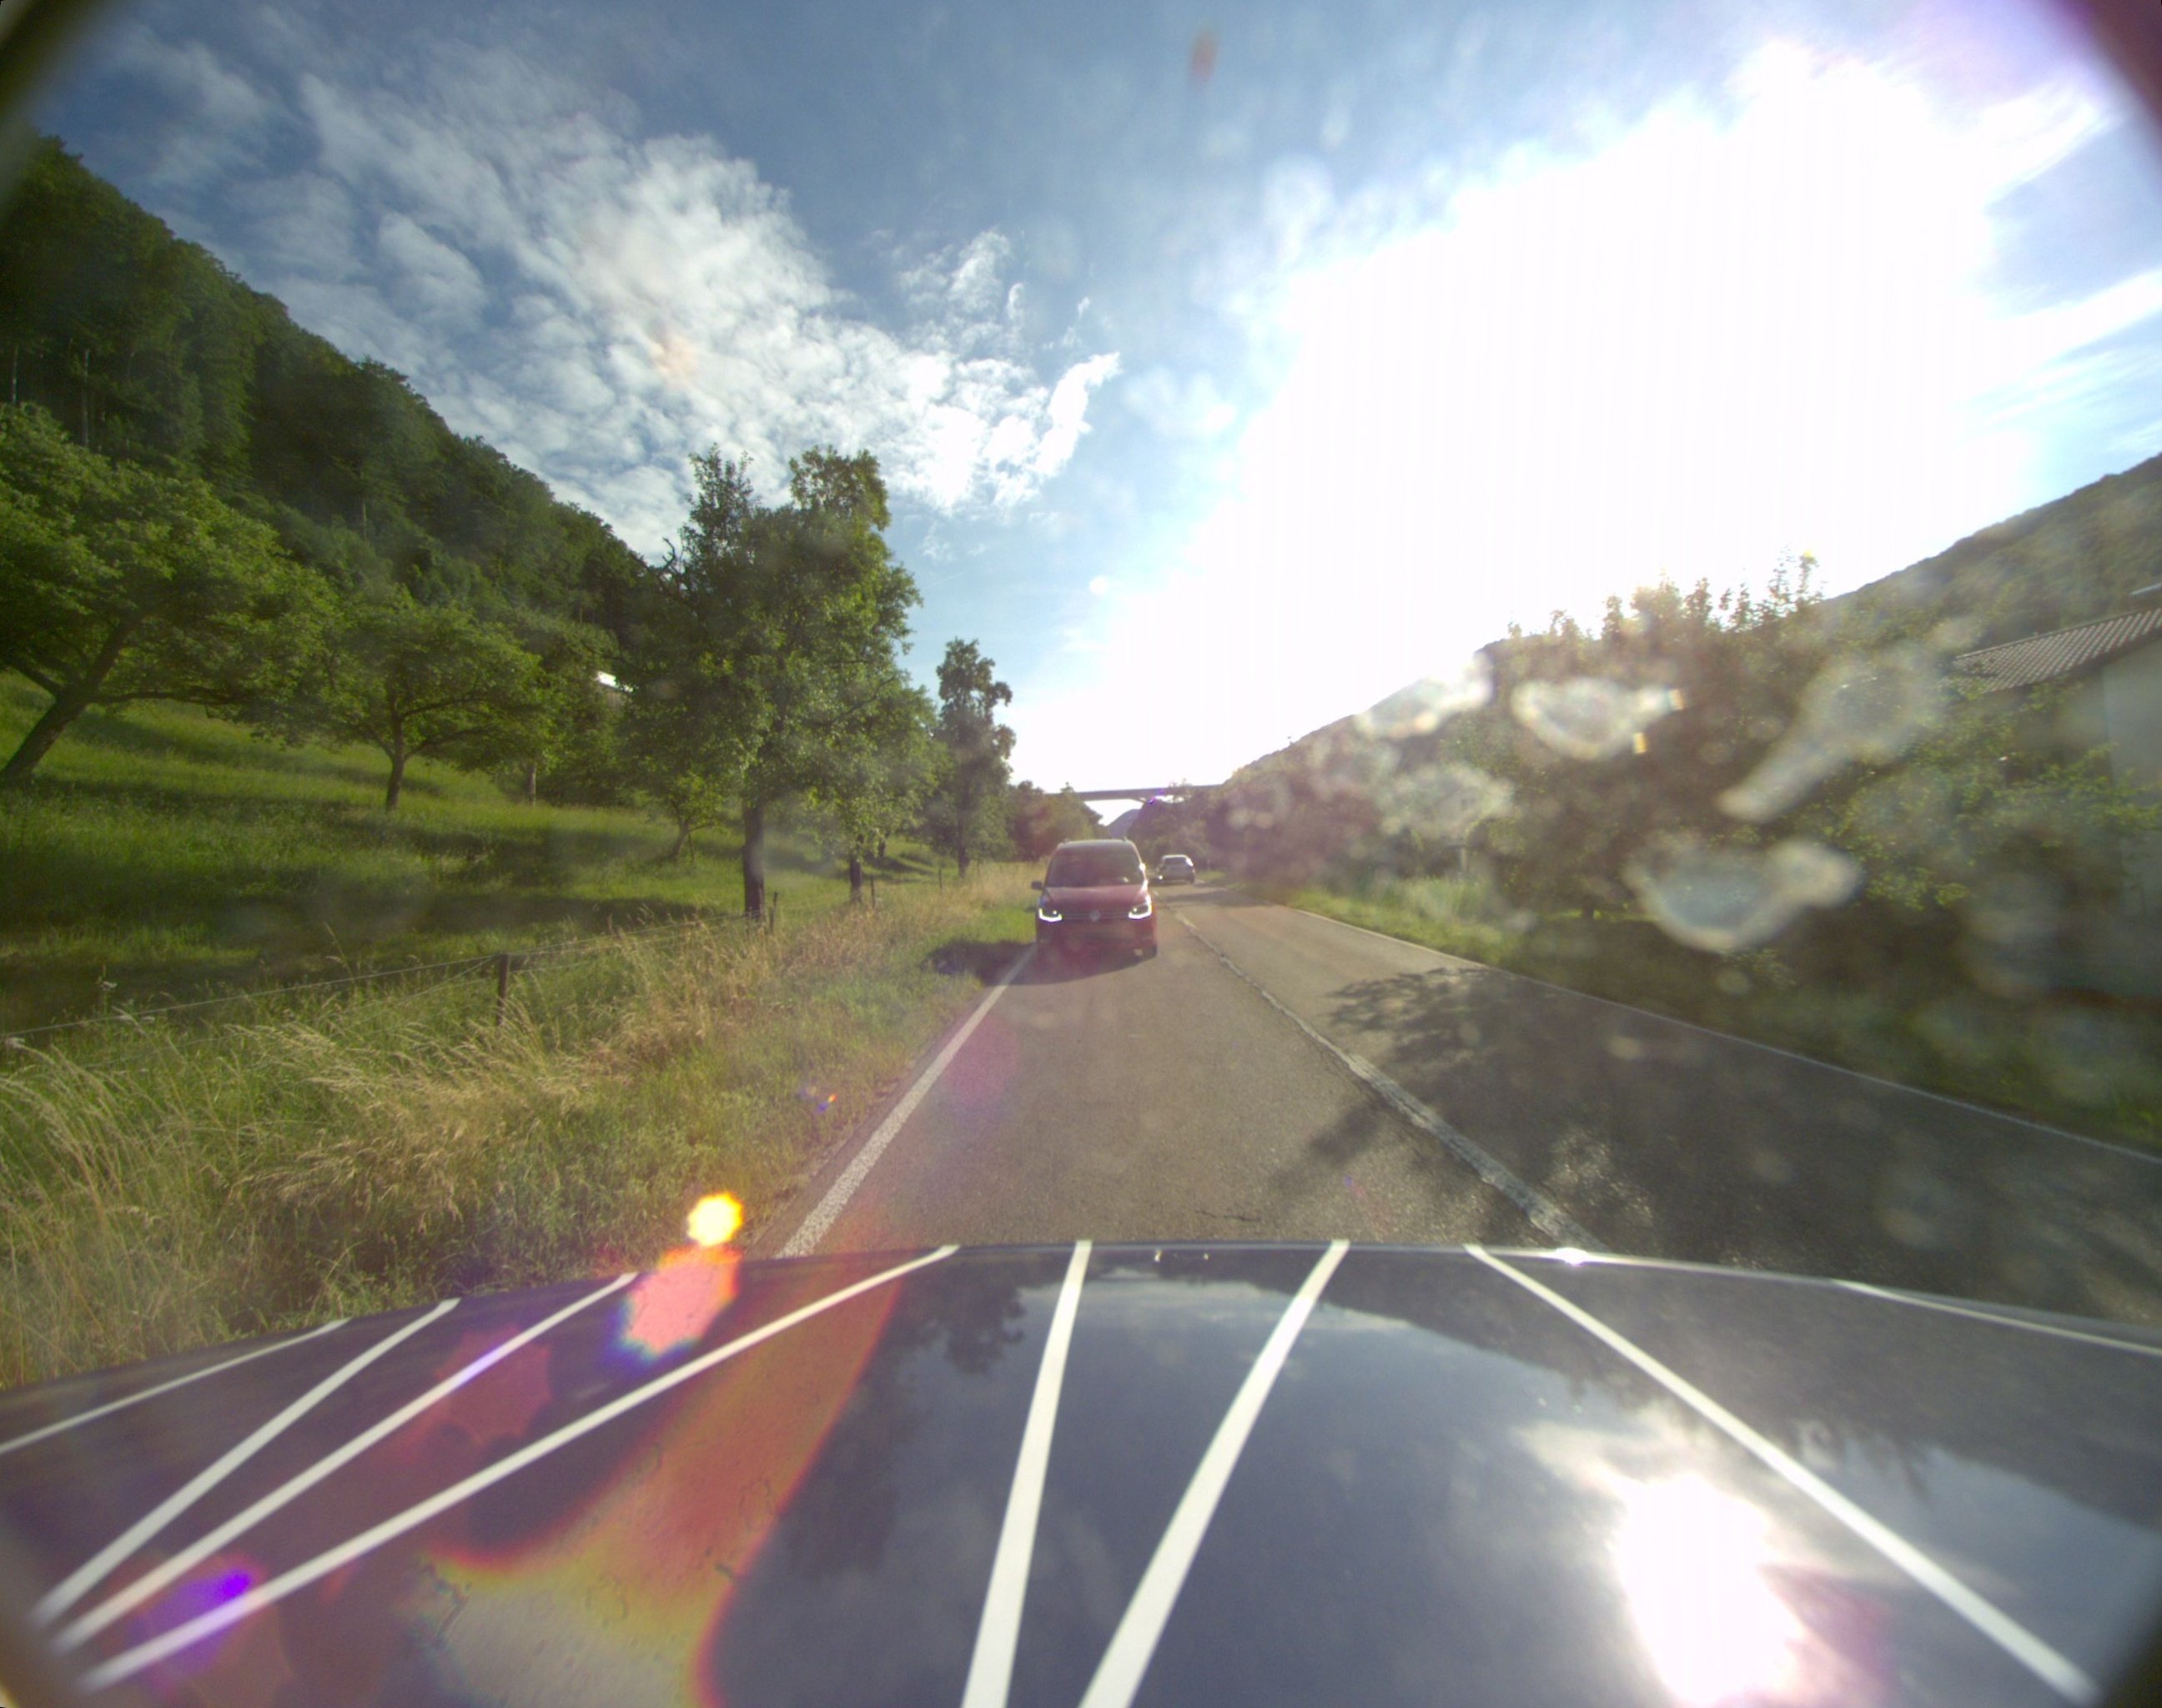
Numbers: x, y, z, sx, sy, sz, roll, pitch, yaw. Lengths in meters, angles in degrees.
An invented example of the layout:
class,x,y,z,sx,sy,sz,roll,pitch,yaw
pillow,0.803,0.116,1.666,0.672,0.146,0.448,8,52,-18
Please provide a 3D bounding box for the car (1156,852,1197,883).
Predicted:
class,x,y,z,sx,sy,sz,roll,pitch,yaw
car,4.735,0.631,38.012,1.696,1.401,3.663,-1,1,2

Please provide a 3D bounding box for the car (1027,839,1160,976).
class,x,y,z,sx,sy,sz,roll,pitch,yaw
car,0.190,0.727,12.287,1.741,1.803,4.000,-2,0,1
